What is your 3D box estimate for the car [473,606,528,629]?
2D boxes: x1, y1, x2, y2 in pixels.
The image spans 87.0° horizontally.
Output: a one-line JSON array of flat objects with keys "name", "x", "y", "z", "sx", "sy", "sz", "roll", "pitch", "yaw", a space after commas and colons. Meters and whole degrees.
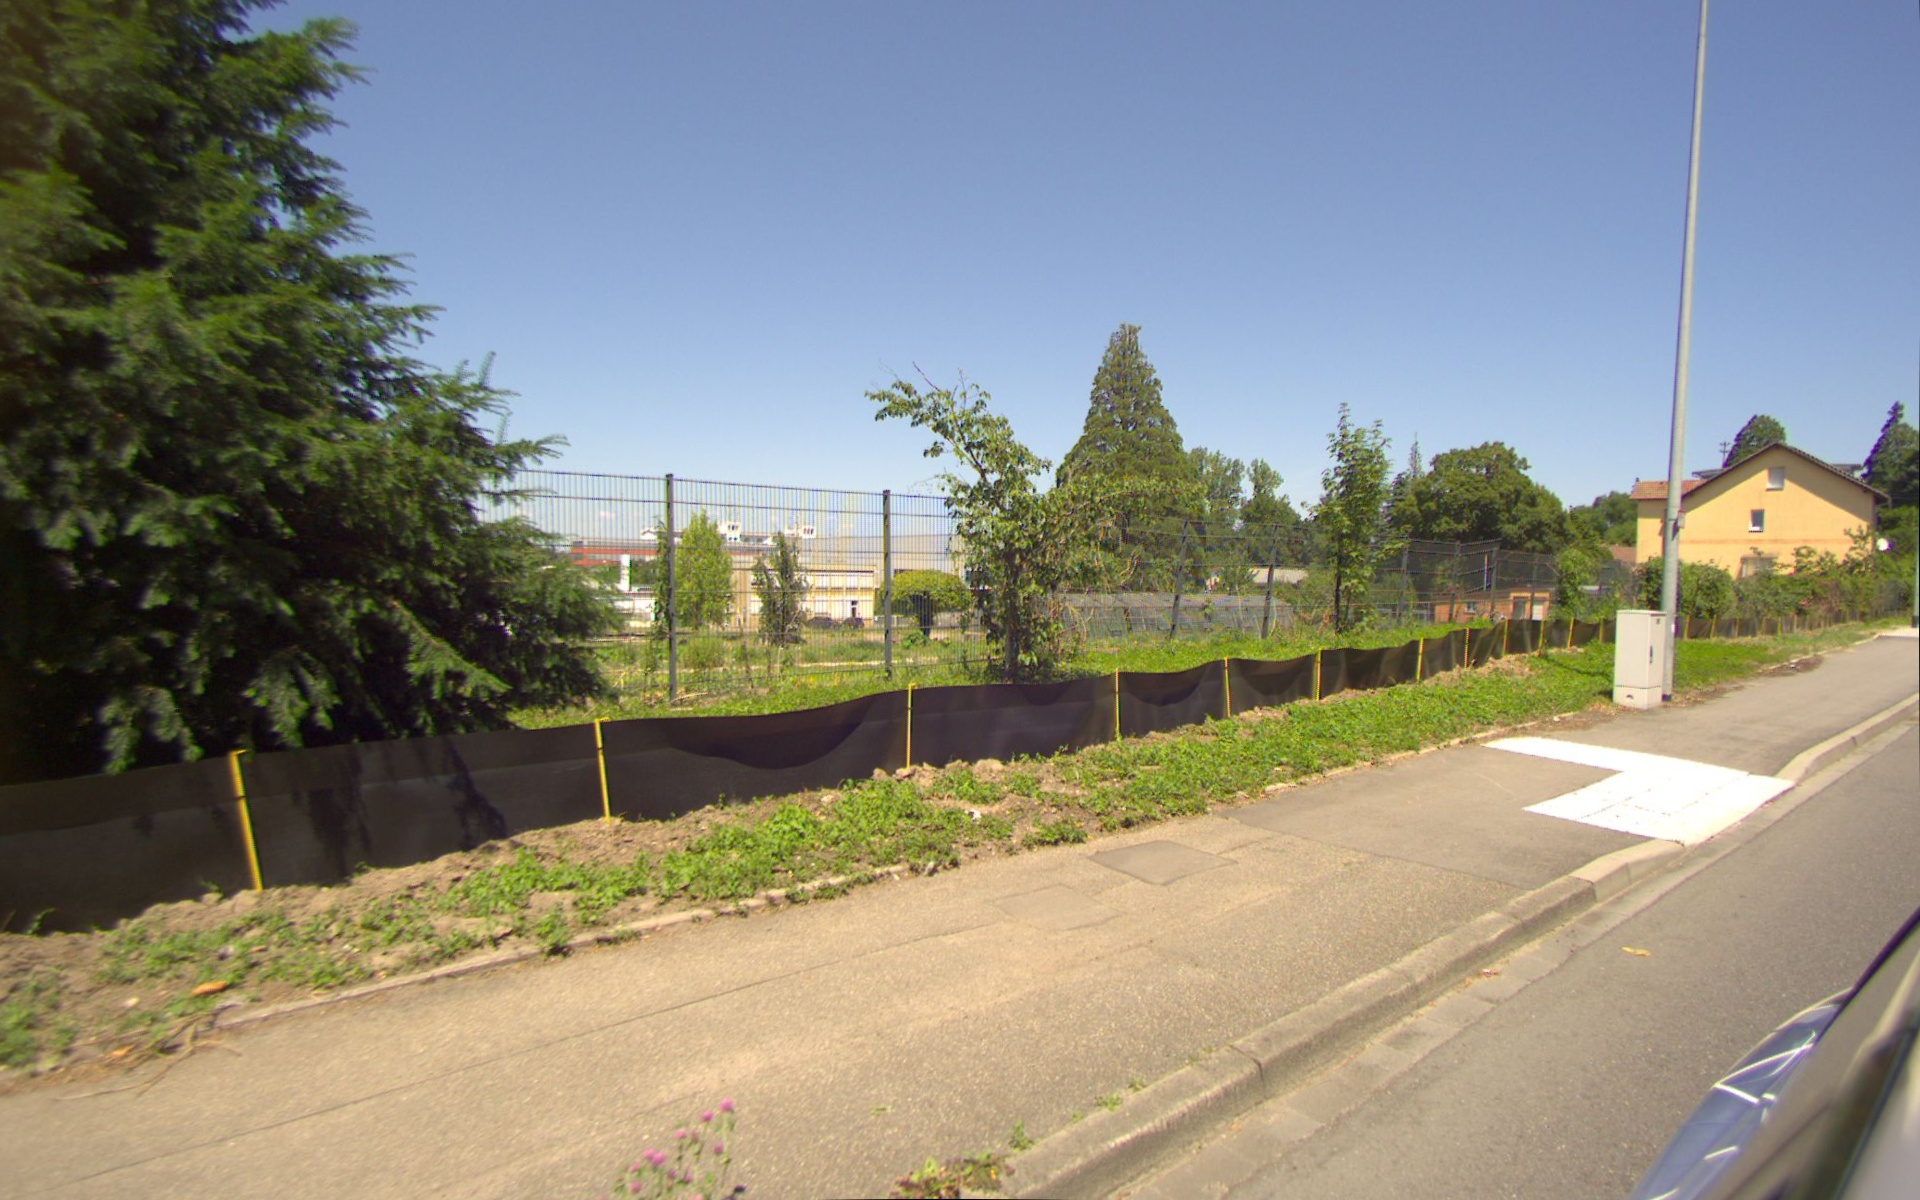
[{"name": "car", "x": -42.350, "y": 1.613, "z": 93.356, "sx": 4.254, "sy": 2.039, "sz": 1.875, "roll": 1, "pitch": -1, "yaw": -5}]
